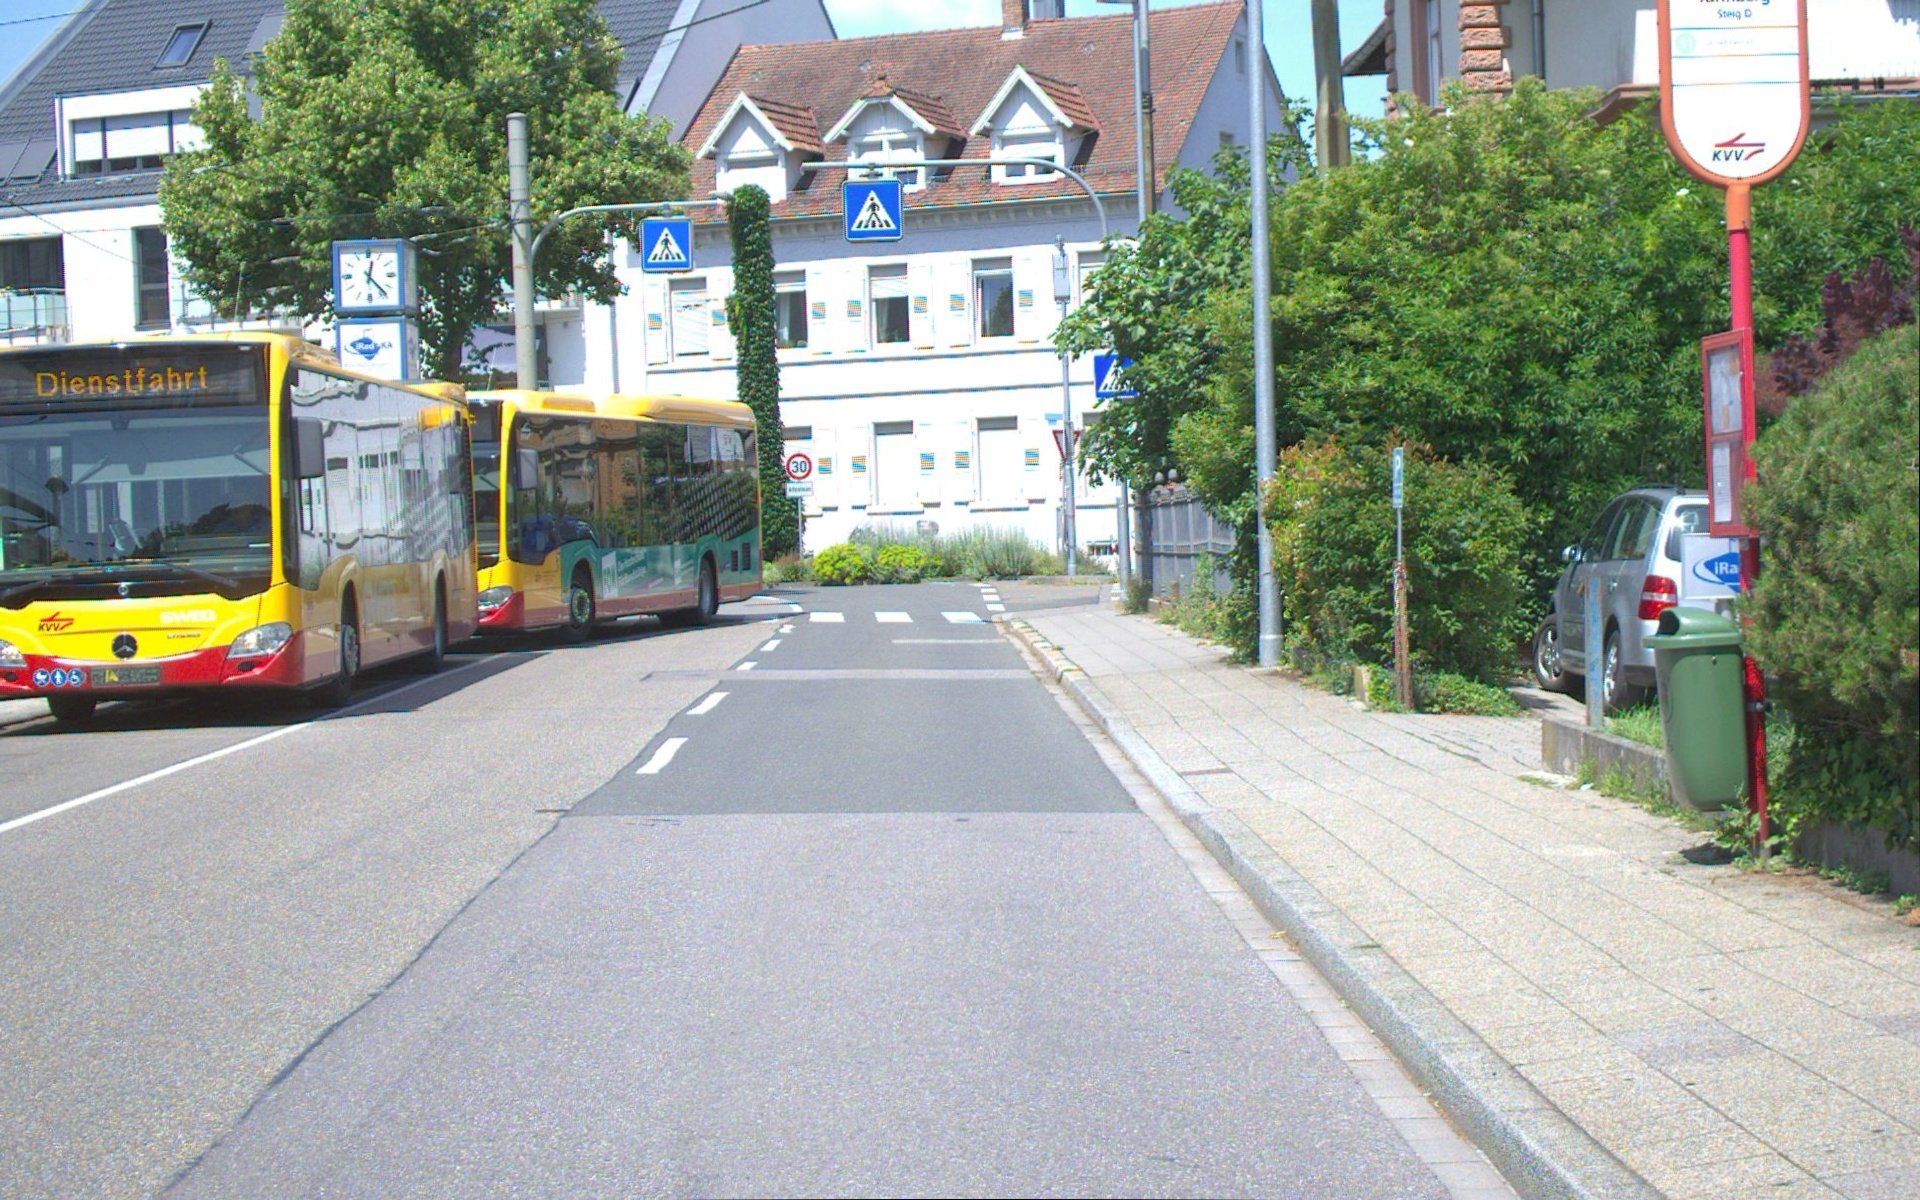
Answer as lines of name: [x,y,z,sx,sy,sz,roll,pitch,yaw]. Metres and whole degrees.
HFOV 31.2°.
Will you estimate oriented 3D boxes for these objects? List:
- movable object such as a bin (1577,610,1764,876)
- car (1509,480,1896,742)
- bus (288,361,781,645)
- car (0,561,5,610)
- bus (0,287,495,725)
movable object such as a bin: [2.572,0.505,12.487,0.406,0.904,0.729,-5,0,-4]
car: [5.274,0.082,24.929,1.760,1.622,4.000,4,0,-1]
bus: [-5.164,-1.298,45.110,2.781,3.197,12.301,0,2,11]
car: [-25.801,-0.367,86.215,3.207,1.219,1.590,0,0,17]
bus: [-6.421,-0.771,31.588,2.907,3.237,12.119,0,1,-1]
